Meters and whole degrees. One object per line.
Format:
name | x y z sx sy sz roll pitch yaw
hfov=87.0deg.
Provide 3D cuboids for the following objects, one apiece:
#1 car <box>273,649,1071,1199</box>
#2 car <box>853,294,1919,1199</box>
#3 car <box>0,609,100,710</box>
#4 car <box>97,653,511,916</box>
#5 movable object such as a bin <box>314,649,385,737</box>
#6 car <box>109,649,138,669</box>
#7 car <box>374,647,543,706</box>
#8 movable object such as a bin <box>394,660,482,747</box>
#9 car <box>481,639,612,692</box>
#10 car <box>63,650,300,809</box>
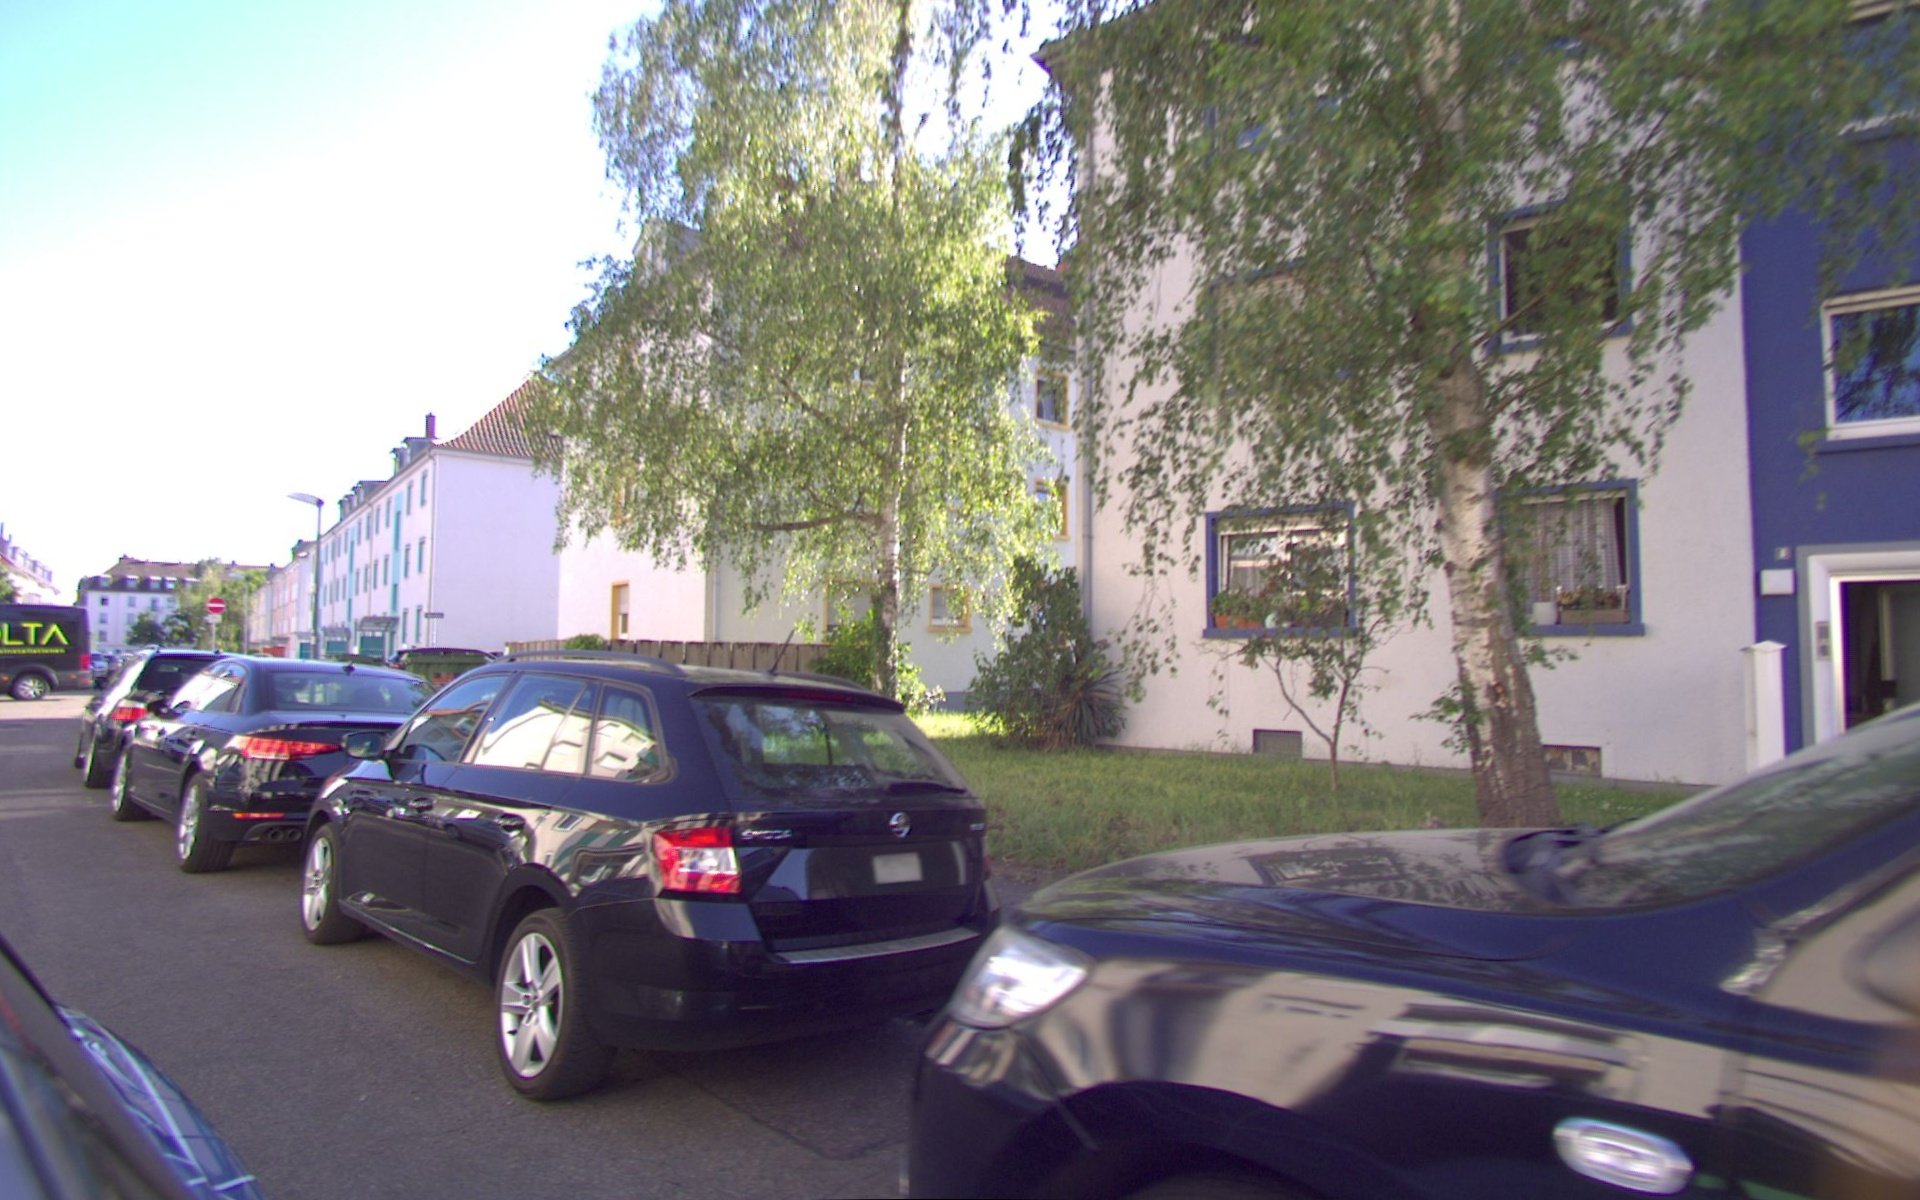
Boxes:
car | -1.576 1.009 4.505 3.968 1.453 1.538 -2 -7 44
car | 2.003 0.645 0.866 4.332 1.727 1.540 -1 -7 39
car | -25.745 1.488 25.484 1.998 2.564 5.881 -3 -4 39
car | -5.282 1.215 7.898 4.281 1.453 1.659 -2 -7 44
movable object such as a bin | -10.210 1.521 16.910 0.766 1.403 1.419 4 -5 -40
car | -85.092 5.993 103.004 1.923 1.915 4.774 4 -4 -37
car | -15.646 2.402 31.702 4.430 1.676 1.723 4 -4 -38
movable object such as a bin | -8.828 1.723 17.127 1.203 1.391 0.769 2 -3 -35
car | -14.874 2.389 36.522 3.935 1.708 1.869 5 -6 -38
car | -9.134 1.365 11.711 1.658 1.464 4.625 8 -7 -42
